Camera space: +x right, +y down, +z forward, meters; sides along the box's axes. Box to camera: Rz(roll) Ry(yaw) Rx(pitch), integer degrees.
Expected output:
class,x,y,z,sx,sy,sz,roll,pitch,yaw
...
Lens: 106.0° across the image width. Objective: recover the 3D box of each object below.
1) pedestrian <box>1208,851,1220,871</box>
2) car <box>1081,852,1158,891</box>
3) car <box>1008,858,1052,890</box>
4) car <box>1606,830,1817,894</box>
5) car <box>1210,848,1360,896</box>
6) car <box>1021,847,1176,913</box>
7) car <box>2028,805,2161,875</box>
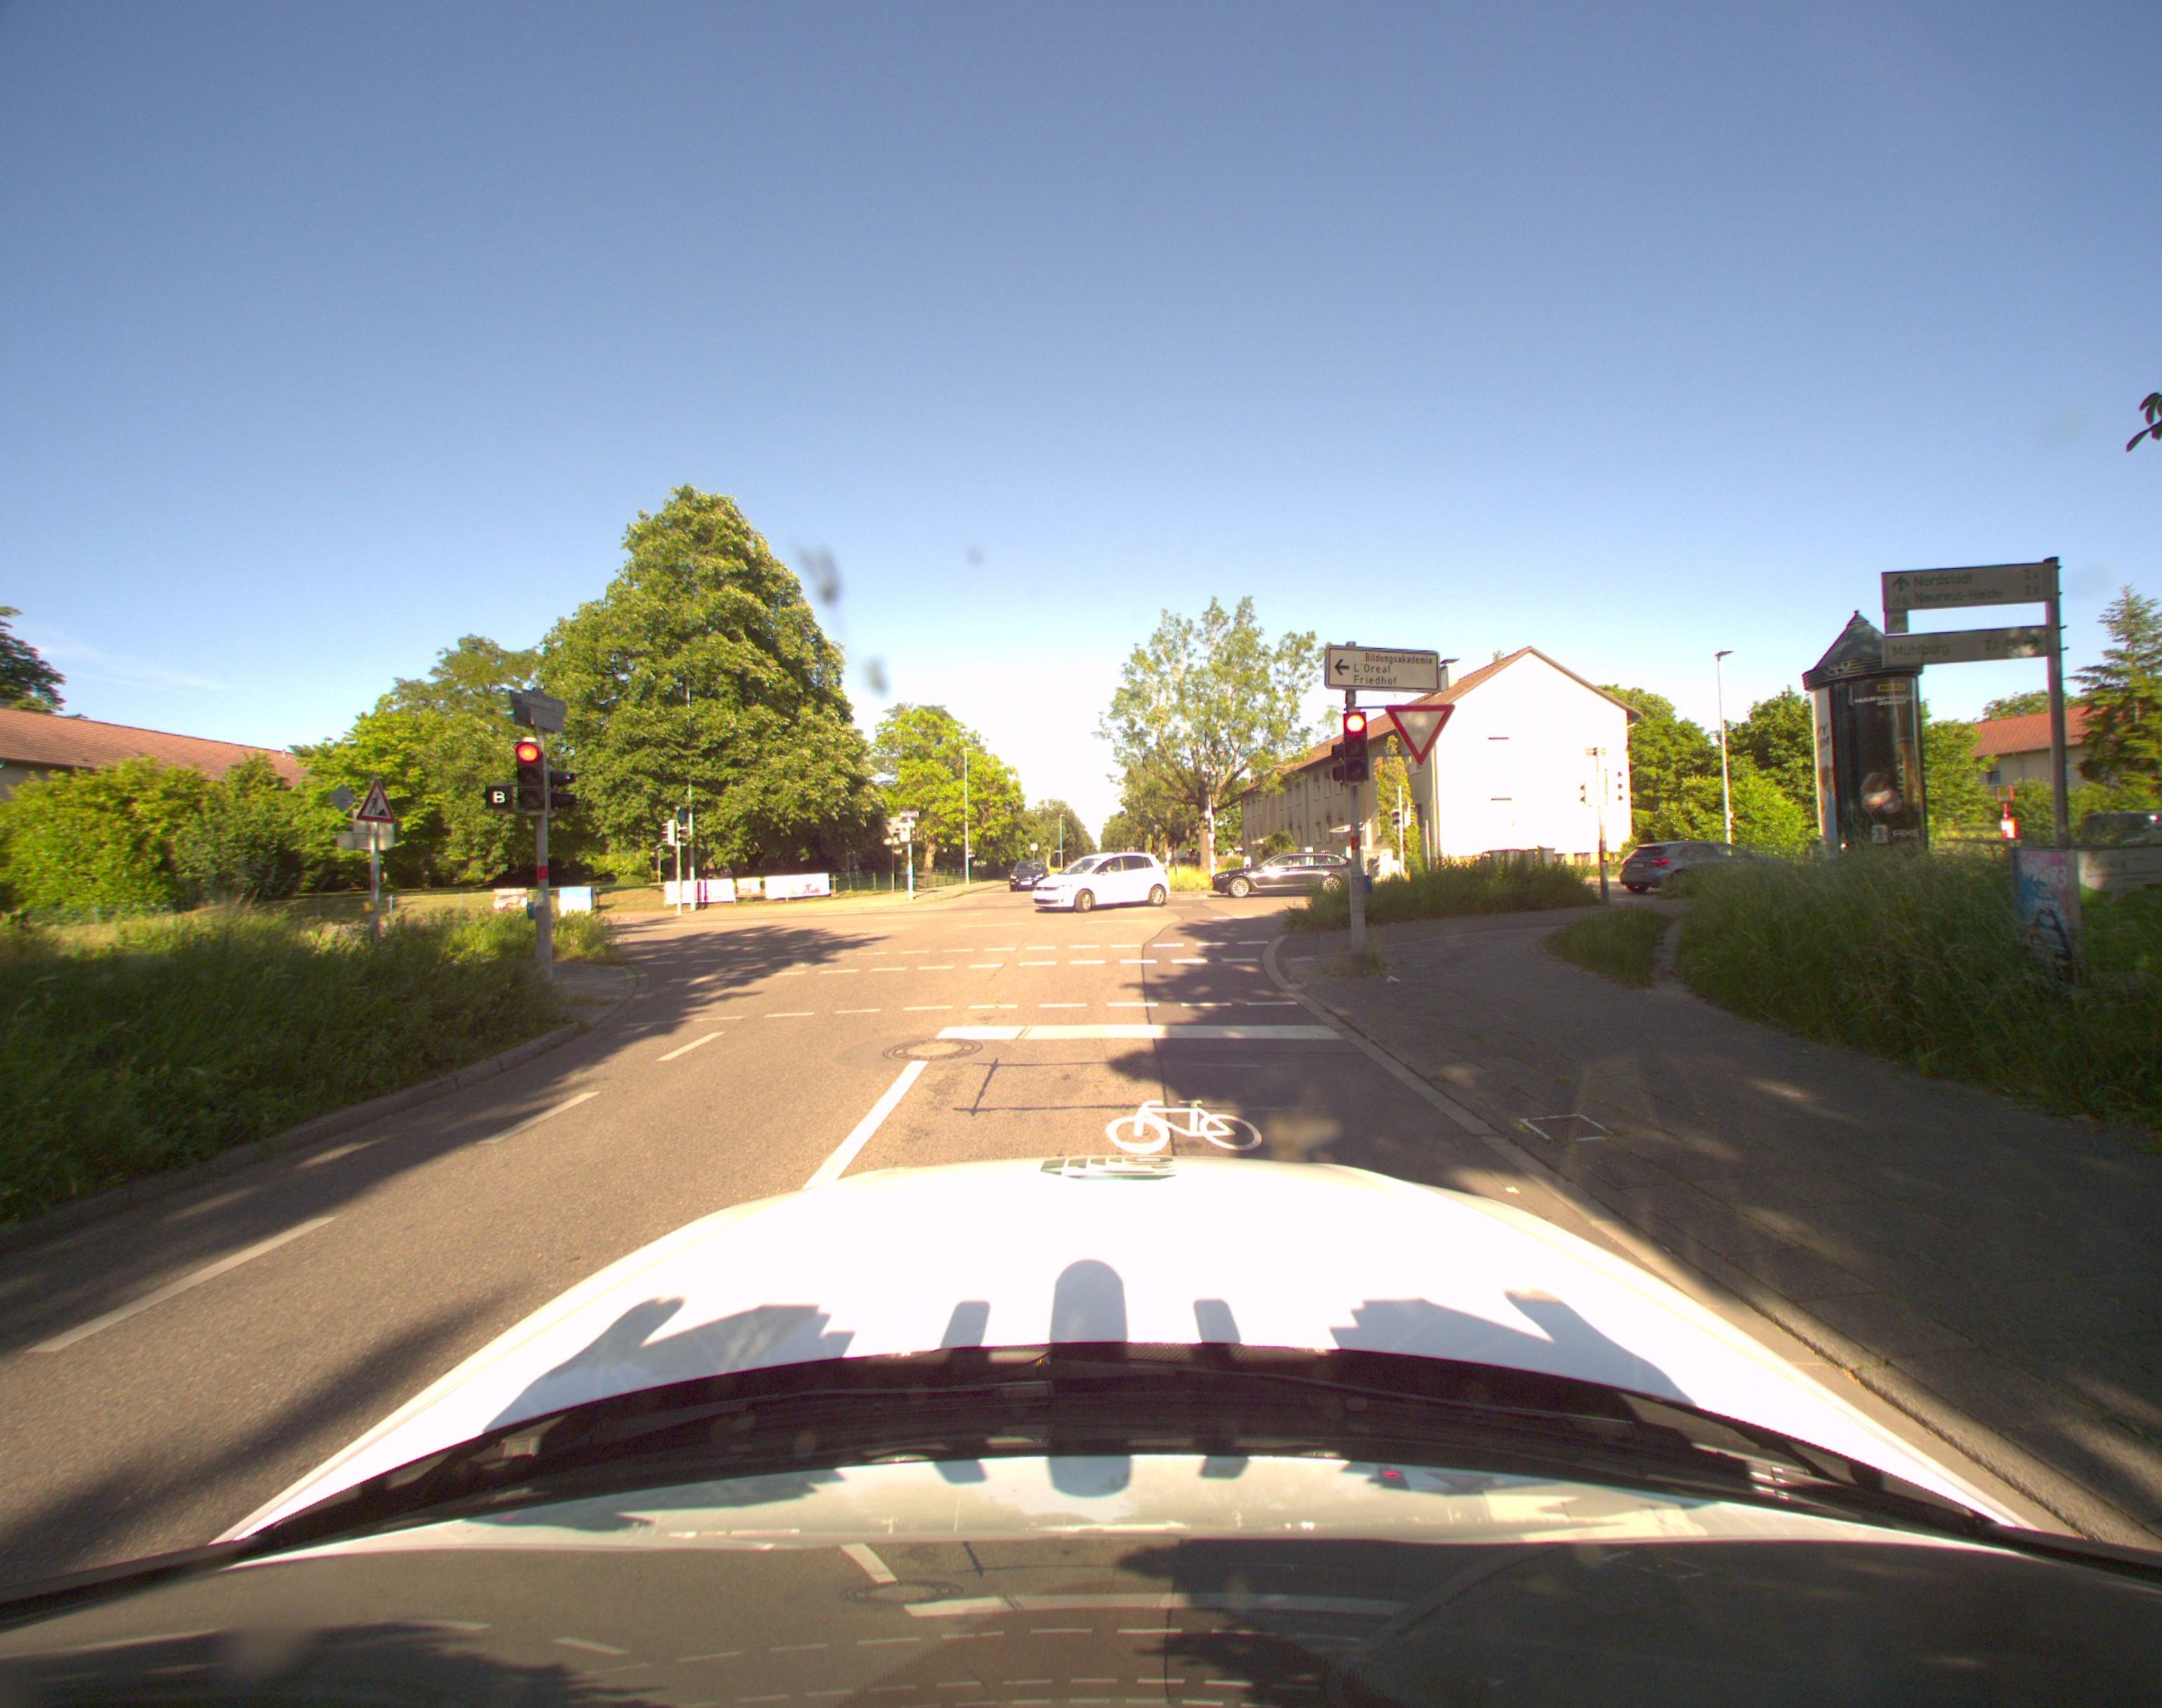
class,x,y,z,sx,sy,sz,roll,pitch,yaw
pedestrian,10.523,0.551,64.499,0.839,1.493,0.924,1,0,1
car,1.604,0.754,35.332,1.760,1.582,3.968,0,-1,-24
car,-2.381,0.916,38.820,1.704,1.385,3.473,-2,0,3
car,17.092,0.217,22.218,4.270,1.489,1.913,-2,0,-1
car,6.751,0.600,27.415,4.701,1.430,2.004,-2,0,7
car,0.553,0.672,23.106,4.138,1.563,1.738,-3,1,-35
car,30.377,-0.433,23.397,4.334,1.887,1.858,-2,0,-3
